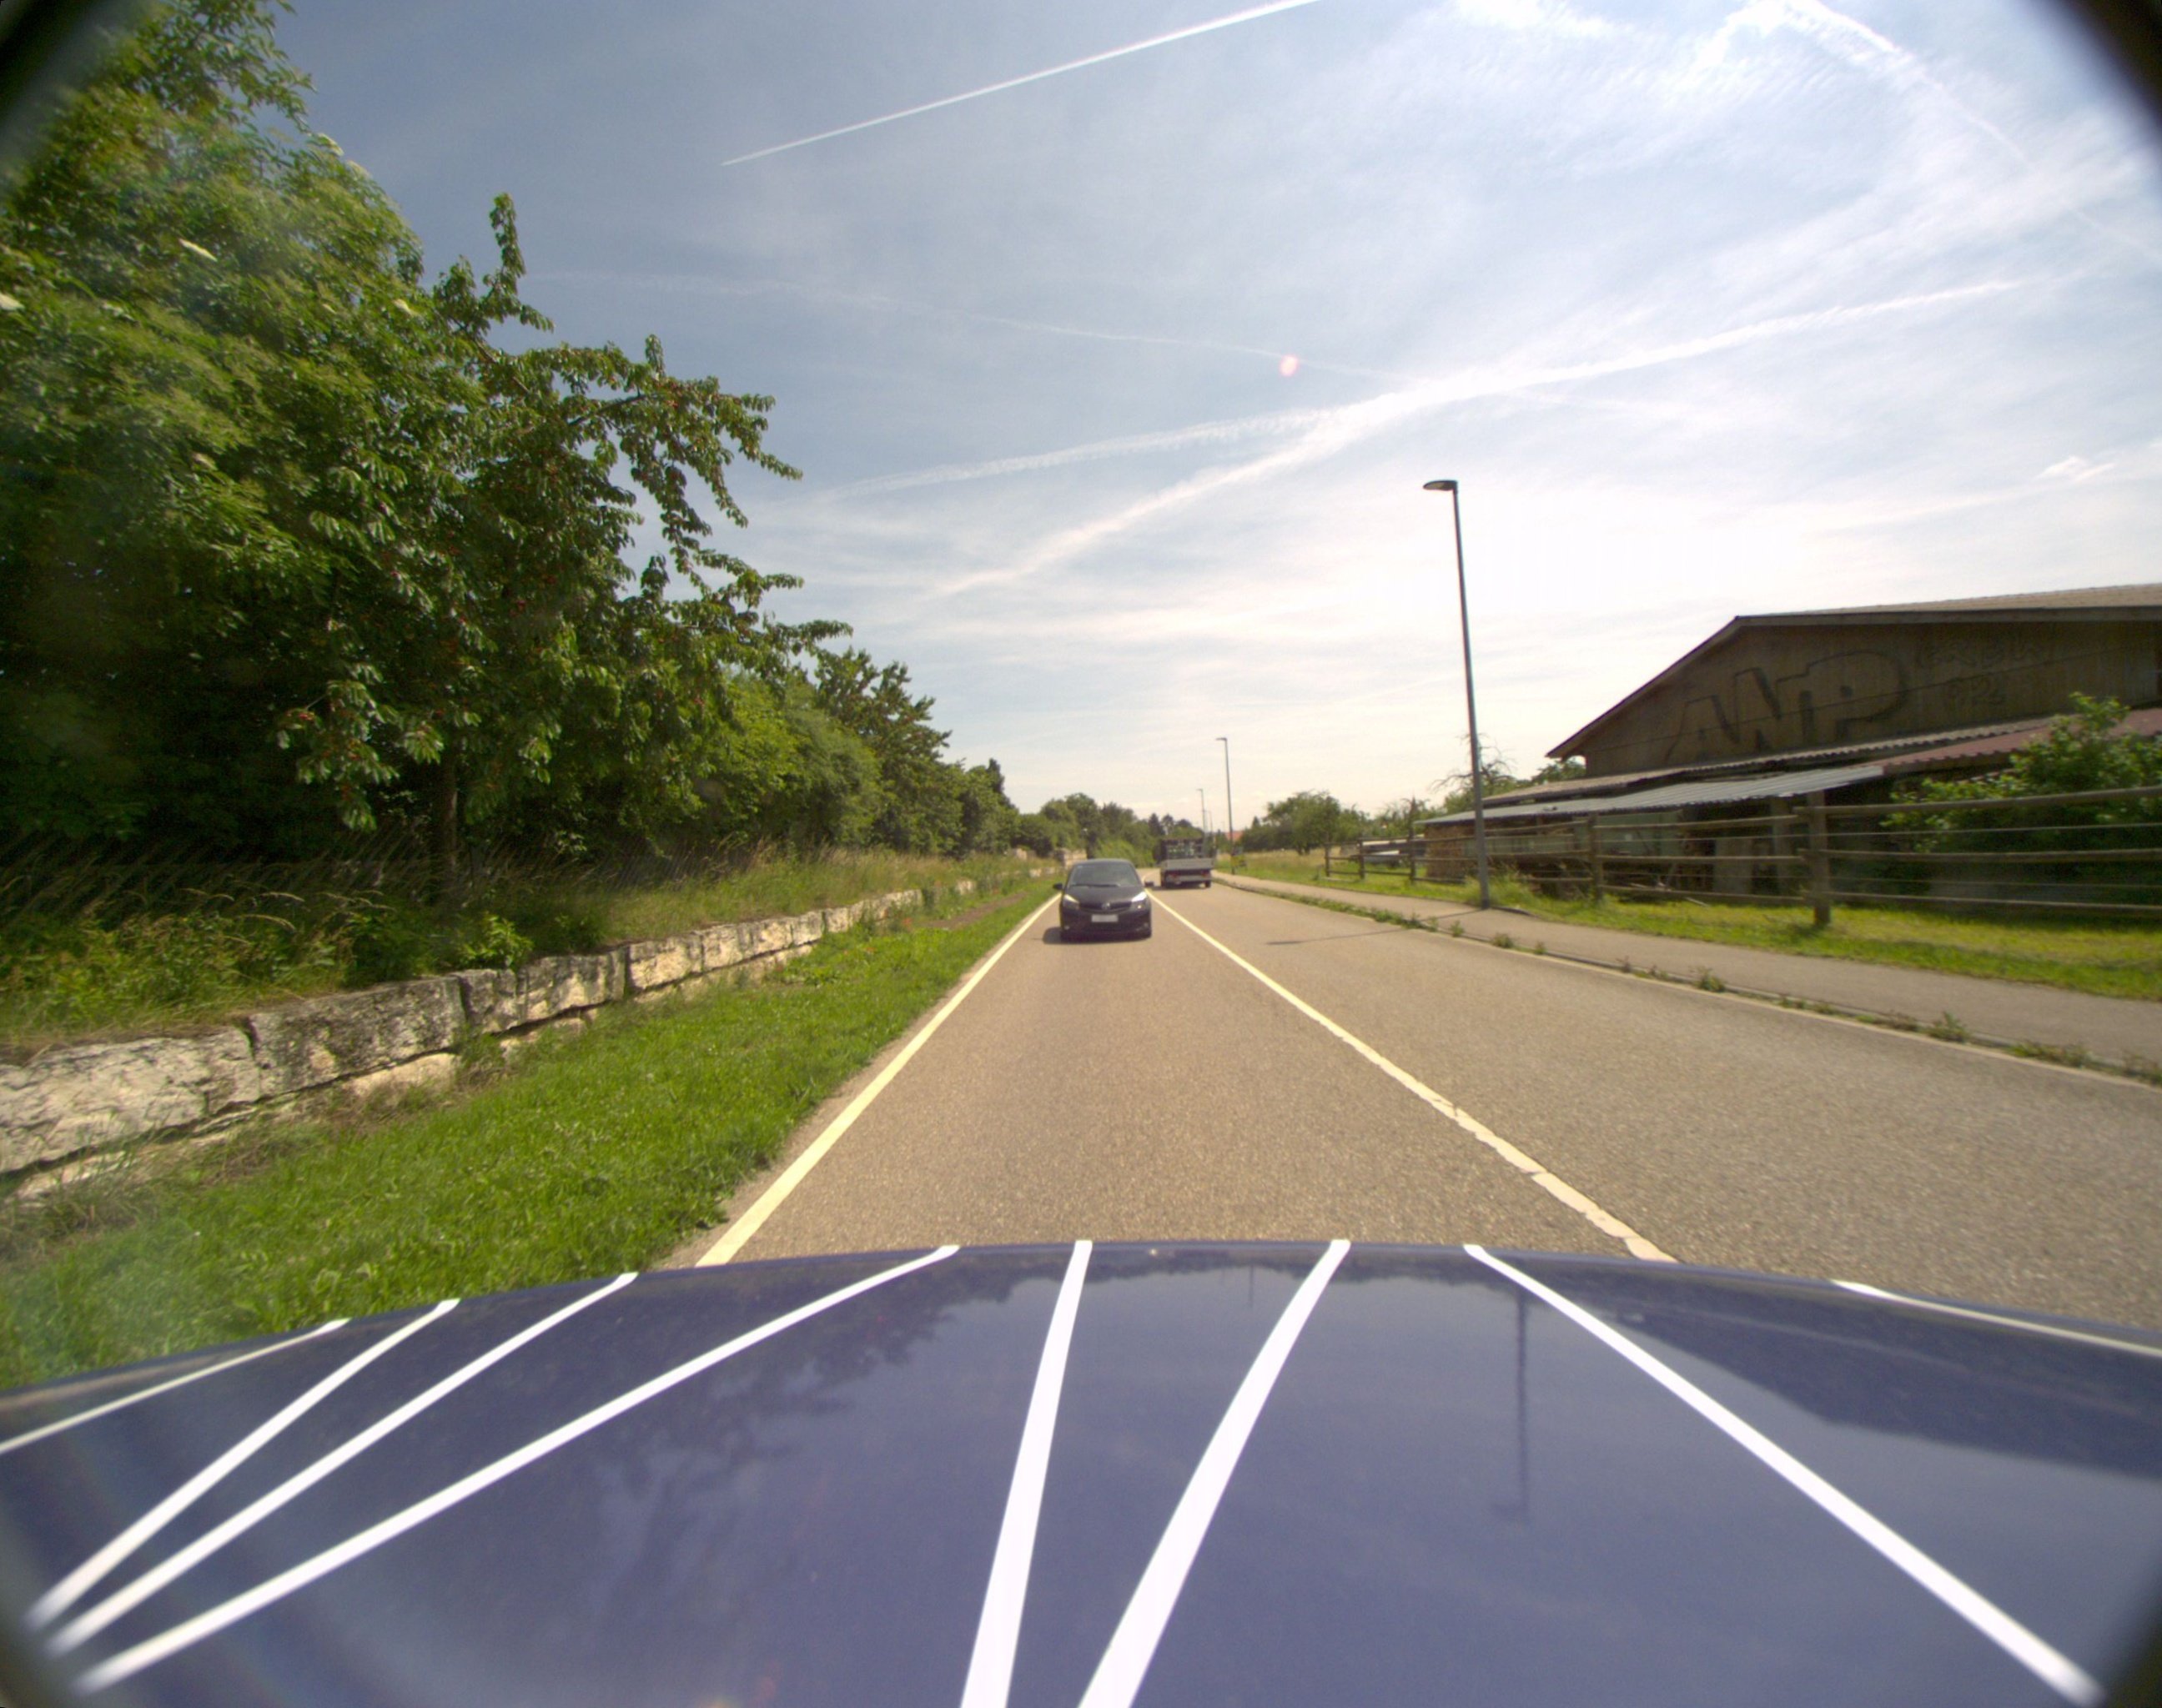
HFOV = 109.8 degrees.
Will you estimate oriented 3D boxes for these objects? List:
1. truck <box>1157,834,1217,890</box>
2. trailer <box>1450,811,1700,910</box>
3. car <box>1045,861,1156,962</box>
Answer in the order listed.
[{"bbox_3d":[4.860,0.315,35.842,2.227,2.280,6.493,-3,0,4],"label":"truck"},{"bbox_3d":[10.247,0.117,16.405,2.160,1.693,5.029,-3,0,1],"label":"trailer"},{"bbox_3d":[0.376,0.921,14.132,1.677,1.456,4.433,-2,0,2],"label":"car"}]
